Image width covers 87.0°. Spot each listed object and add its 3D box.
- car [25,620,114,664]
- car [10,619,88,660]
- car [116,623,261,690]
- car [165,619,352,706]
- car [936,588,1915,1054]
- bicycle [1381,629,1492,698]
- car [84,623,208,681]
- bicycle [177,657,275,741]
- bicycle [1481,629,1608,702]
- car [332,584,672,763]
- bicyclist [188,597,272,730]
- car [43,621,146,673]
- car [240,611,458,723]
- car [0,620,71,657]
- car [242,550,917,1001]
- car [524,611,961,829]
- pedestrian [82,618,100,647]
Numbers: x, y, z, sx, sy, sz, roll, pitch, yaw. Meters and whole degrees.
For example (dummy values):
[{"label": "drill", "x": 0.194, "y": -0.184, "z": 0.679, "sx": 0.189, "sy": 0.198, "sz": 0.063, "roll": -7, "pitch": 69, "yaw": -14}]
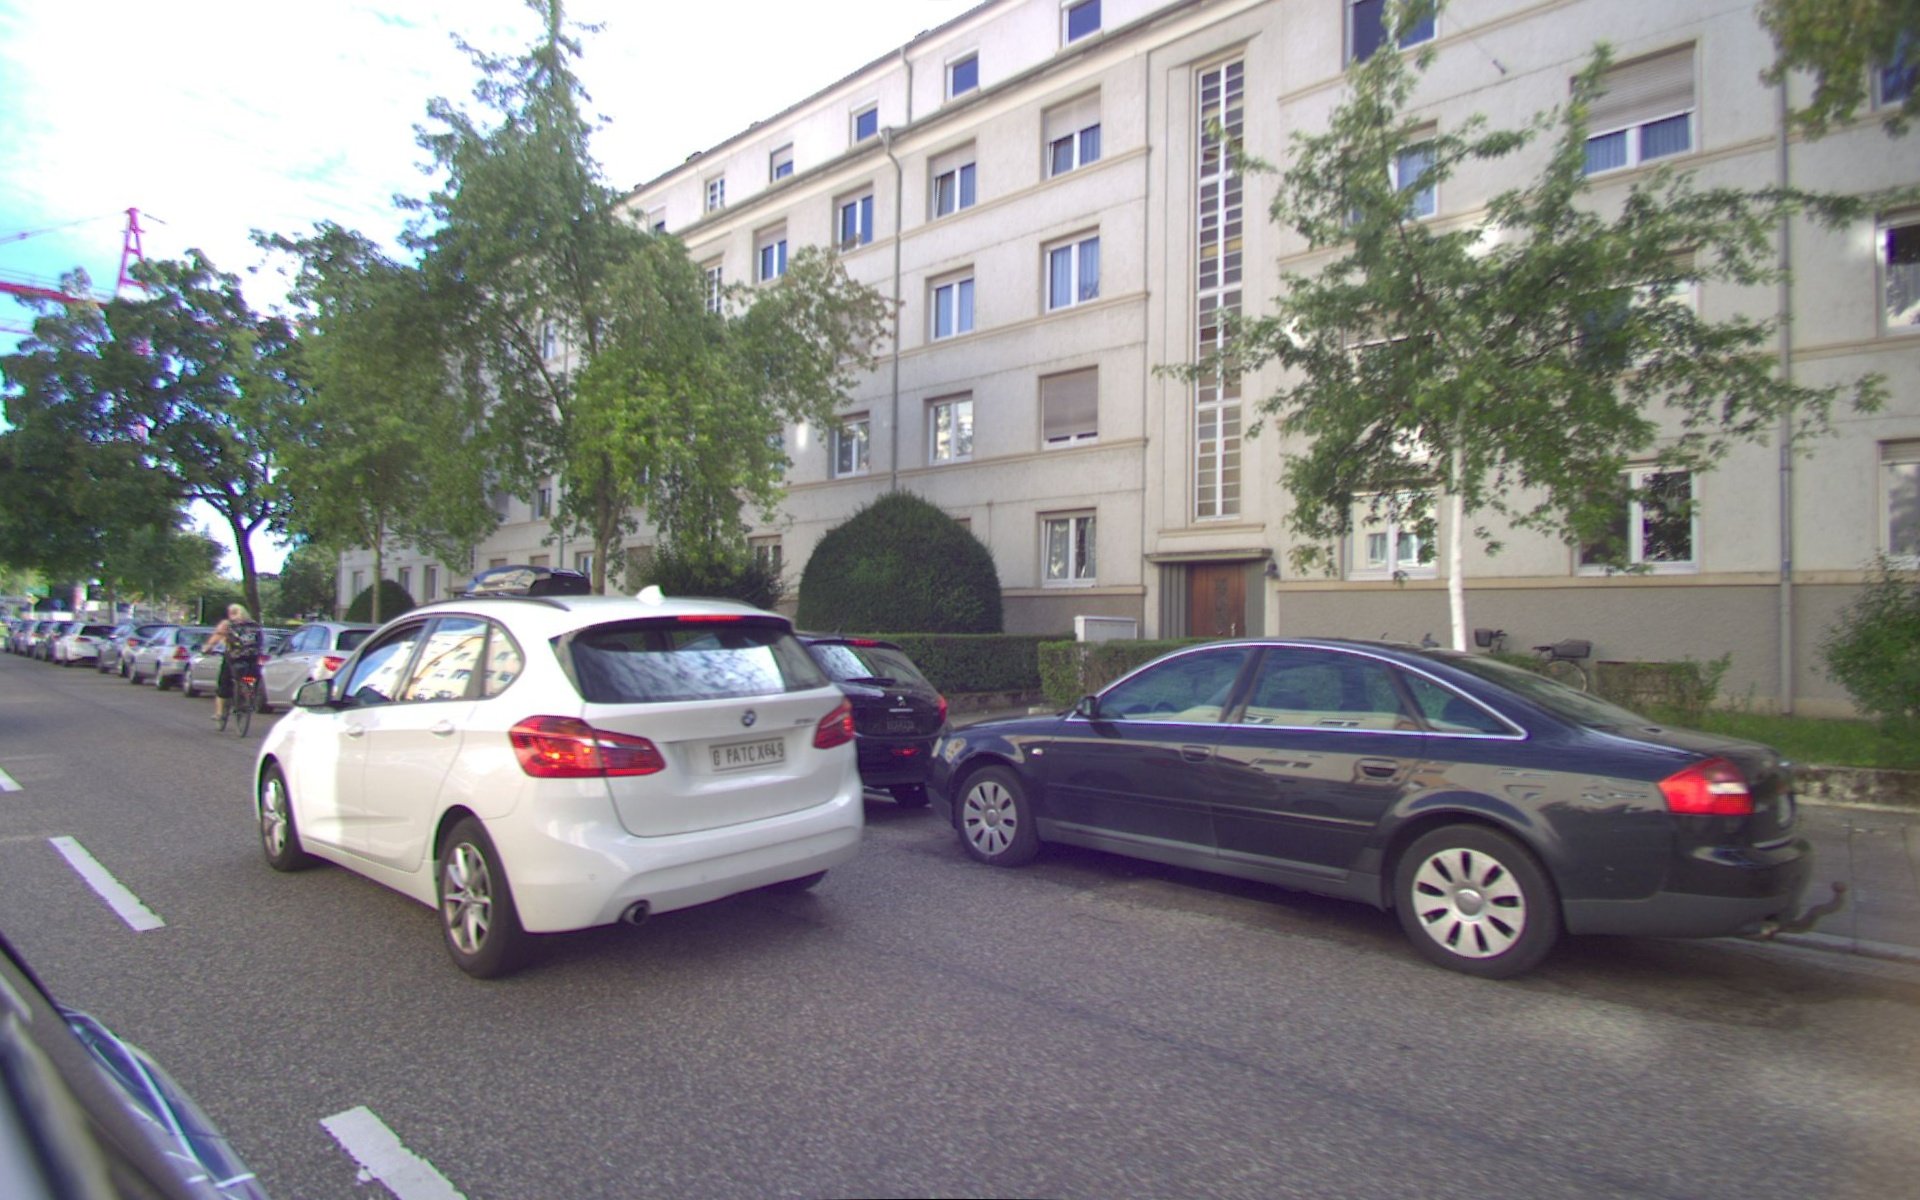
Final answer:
[{"label": "car", "x": -32.318, "y": 1.517, "z": 36.678, "sx": 4.682, "sy": 1.497, "sz": 1.835, "roll": -1, "pitch": -3, "yaw": 42}, {"label": "car", "x": -36.307, "y": 1.569, "z": 40.309, "sx": 4.368, "sy": 1.497, "sz": 1.801, "roll": -1, "pitch": -5, "yaw": 42}, {"label": "car", "x": -18.046, "y": 1.301, "z": 23.595, "sx": 4.663, "sy": 1.404, "sz": 1.720, "roll": -1, "pitch": -5, "yaw": 41}, {"label": "car", "x": -13.923, "y": 1.198, "z": 19.961, "sx": 4.942, "sy": 1.497, "sz": 1.835, "roll": -1, "pitch": -6, "yaw": 42}, {"label": "car", "x": 2.040, "y": 0.819, "z": 5.444, "sx": 4.453, "sy": 1.492, "sz": 1.666, "roll": -2, "pitch": -6, "yaw": 45}, {"label": "bicycle", "x": 7.722, "y": 1.008, "z": 16.444, "sx": 1.540, "sy": 1.064, "sz": 0.536, "roll": -2, "pitch": -2, "yaw": 41}, {"label": "car", "x": -22.893, "y": 1.424, "z": 28.407, "sx": 4.680, "sy": 1.497, "sz": 1.836, "roll": -1, "pitch": -4, "yaw": 41}, {"label": "bicycle", "x": -9.327, "y": 1.221, "z": 12.829, "sx": 1.857, "sy": 0.930, "sz": 0.635, "roll": -1, "pitch": -2, "yaw": 42}, {"label": "bicycle", "x": 8.859, "y": 0.969, "z": 15.371, "sx": 1.576, "sy": 1.057, "sz": 0.563, "roll": -2, "pitch": -2, "yaw": 41}, {"label": "car", "x": -5.837, "y": 0.842, "z": 12.576, "sx": 4.967, "sy": 1.807, "sz": 1.857, "roll": -1, "pitch": -5, "yaw": 41}, {"label": "bicyclist", "x": -9.246, "y": 0.784, "z": 12.819, "sx": 0.990, "sy": 1.613, "sz": 0.634, "roll": -2, "pitch": -3, "yaw": 42}, {"label": "car", "x": -28.328, "y": 1.515, "z": 33.058, "sx": 4.797, "sy": 1.497, "sz": 1.835, "roll": -1, "pitch": -6, "yaw": 42}, {"label": "car", "x": -10.099, "y": 1.040, "z": 16.588, "sx": 4.459, "sy": 1.585, "sz": 1.835, "roll": -1, "pitch": -4, "yaw": 43}, {"label": "car", "x": -40.038, "y": 1.646, "z": 43.555, "sx": 4.416, "sy": 1.497, "sz": 1.908, "roll": -1, "pitch": -5, "yaw": 40}, {"label": "car", "x": -2.293, "y": 0.662, "z": 5.517, "sx": 4.010, "sy": 1.540, "sz": 1.839, "roll": -2, "pitch": -3, "yaw": 43}, {"label": "car", "x": -2.090, "y": 0.928, "z": 8.981, "sx": 4.119, "sy": 1.492, "sz": 1.667, "roll": -1, "pitch": -6, "yaw": 43}, {"label": "pedestrian", "x": -54.593, "y": 2.017, "z": 63.578, "sx": 0.775, "sy": 1.781, "sz": 0.734, "roll": -1, "pitch": -2, "yaw": 41}]
